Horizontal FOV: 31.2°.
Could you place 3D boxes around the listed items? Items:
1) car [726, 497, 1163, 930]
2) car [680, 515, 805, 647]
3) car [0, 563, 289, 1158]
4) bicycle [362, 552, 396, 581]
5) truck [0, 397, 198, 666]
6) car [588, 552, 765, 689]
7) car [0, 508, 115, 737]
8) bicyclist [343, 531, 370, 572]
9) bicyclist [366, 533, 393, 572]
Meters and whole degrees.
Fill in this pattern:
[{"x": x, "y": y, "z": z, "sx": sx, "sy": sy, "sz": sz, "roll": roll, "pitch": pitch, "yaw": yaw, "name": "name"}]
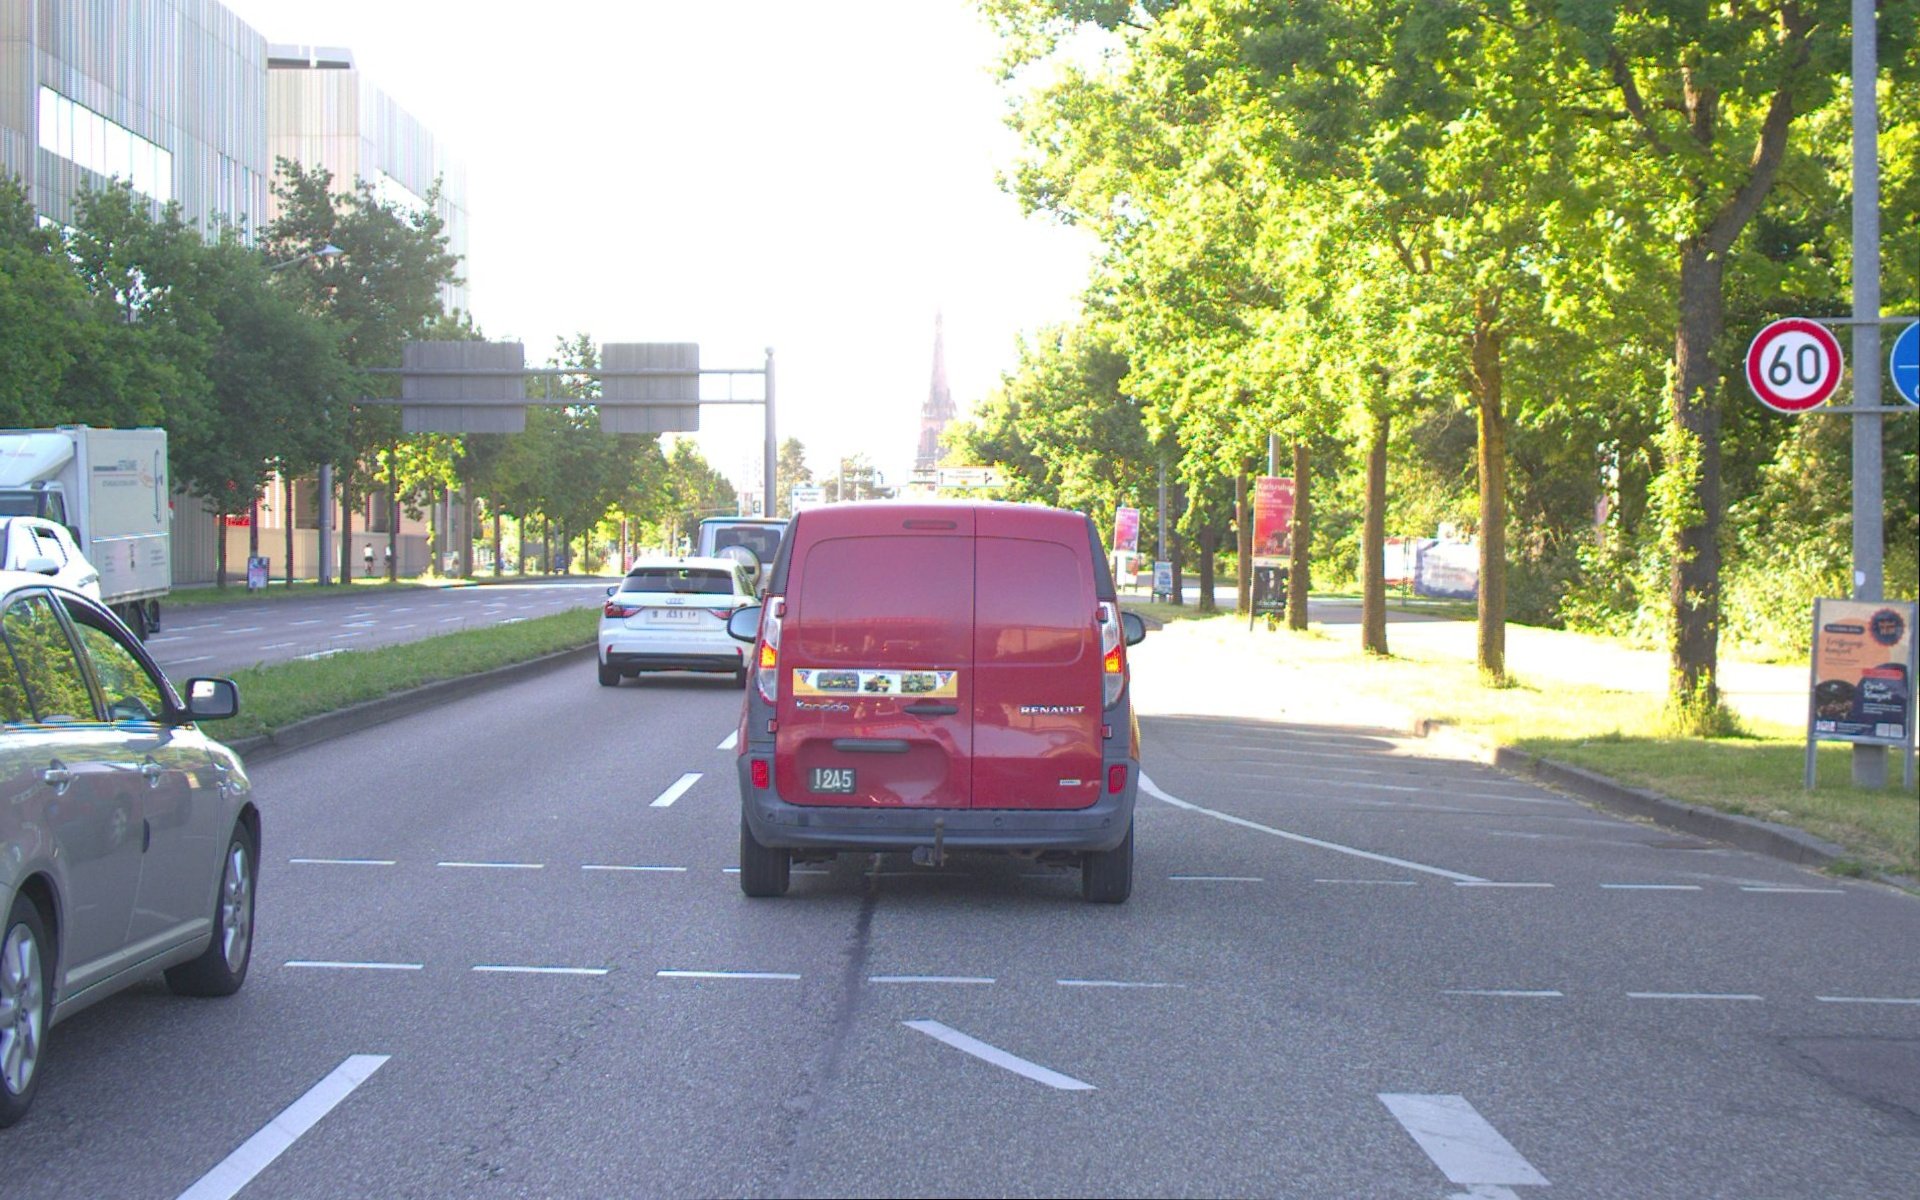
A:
[{"x": -0.055, "y": 0.437, "z": 16.491, "sx": 1.805, "sy": 1.788, "sz": 4.000, "roll": 1, "pitch": 1, "yaw": 0, "name": "car"}, {"x": -3.425, "y": -0.267, "z": 54.796, "sx": 1.801, "sy": 1.982, "sz": 4.589, "roll": 1, "pitch": -1, "yaw": -2, "name": "car"}, {"x": -3.236, "y": 0.630, "z": 9.915, "sx": 1.733, "sy": 1.475, "sz": 4.319, "roll": 0, "pitch": 0, "yaw": 0, "name": "car"}, {"x": -25.751, "y": -1.457, "z": 152.417, "sx": 0.909, "sy": 1.195, "sz": 3.300, "roll": 1, "pitch": -1, "yaw": 0, "name": "bicycle"}, {"x": -11.326, "y": -0.772, "z": 42.296, "sx": 2.409, "sy": 3.016, "sz": 6.657, "roll": -2, "pitch": 0, "yaw": -1, "name": "truck"}, {"x": -3.126, "y": 0.194, "z": 38.535, "sx": 1.813, "sy": 1.433, "sz": 3.731, "roll": 1, "pitch": 1, "yaw": -3, "name": "car"}, {"x": -8.410, "y": 0.196, "z": 28.587, "sx": 1.757, "sy": 1.790, "sz": 4.083, "roll": -2, "pitch": 0, "yaw": -1, "name": "car"}, {"x": -26.747, "y": -2.166, "z": 152.395, "sx": 0.909, "sy": 1.760, "sz": 1.396, "roll": 1, "pitch": -1, "yaw": 0, "name": "bicyclist"}, {"x": -25.745, "y": -2.090, "z": 152.424, "sx": 0.909, "sy": 1.680, "sz": 1.409, "roll": 1, "pitch": -1, "yaw": 0, "name": "bicyclist"}]
